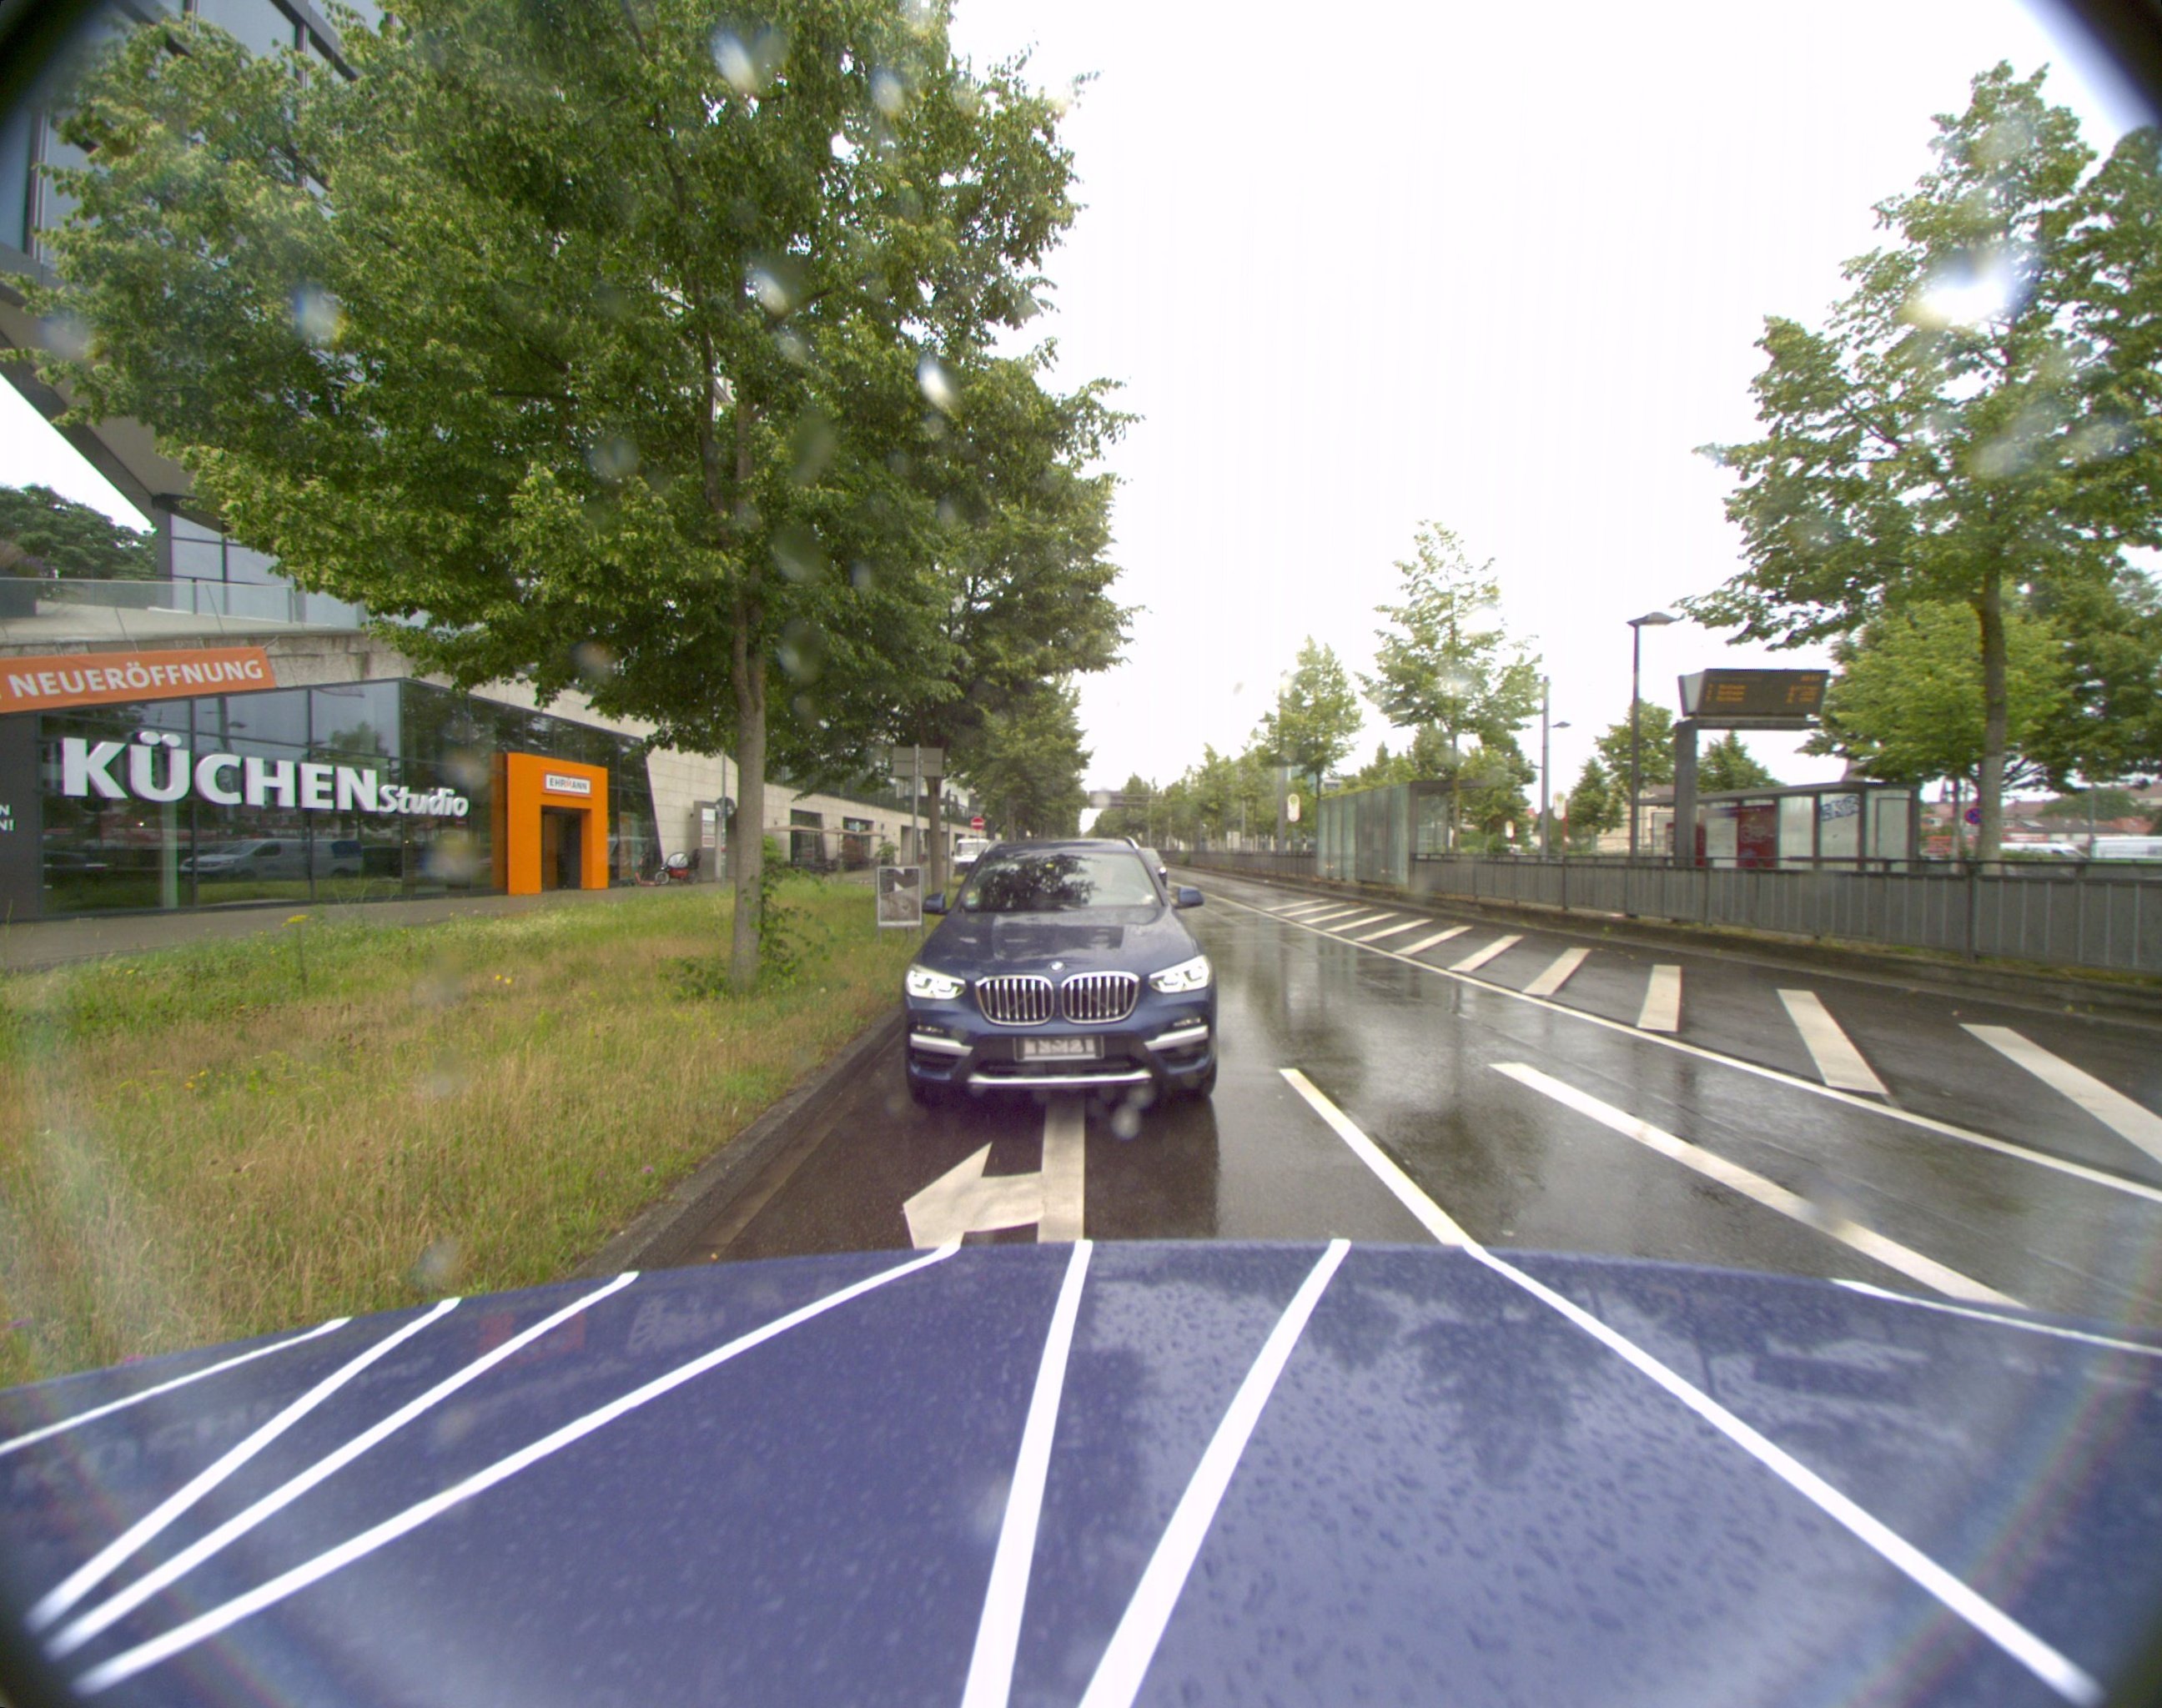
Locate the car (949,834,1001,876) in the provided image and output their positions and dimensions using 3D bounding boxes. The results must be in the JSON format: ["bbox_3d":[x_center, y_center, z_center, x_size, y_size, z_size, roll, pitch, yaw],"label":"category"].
[{"bbox_3d":[-5.983,0.048,43.411,2.084,2.189,5.097,-2,1,1],"label":"car"}]

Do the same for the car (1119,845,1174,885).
[{"bbox_3d":[2.730,0.422,32.683,1.788,1.509,4.331,-2,1,-2],"label":"car"}]

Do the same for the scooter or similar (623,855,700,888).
[{"bbox_3d":[-15.553,0.625,28.263,0.810,1.093,2.617,-2,1,18],"label":"scooter or similar"}]

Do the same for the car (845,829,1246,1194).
[{"bbox_3d":[-0.148,0.811,5.947,1.916,1.736,4.384,-2,-1,1],"label":"car"}]

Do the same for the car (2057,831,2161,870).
[{"bbox_3d":[70.138,-0.268,49.787,2.356,2.462,7.636,-2,1,-3],"label":"car"}]

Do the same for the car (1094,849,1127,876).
[{"bbox_3d":[1.722,0.477,45.164,1.788,1.450,4.315,-2,1,1],"label":"car"}]

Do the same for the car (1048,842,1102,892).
[{"bbox_3d":[-0.167,0.416,27.966,1.788,1.638,3.999,-2,1,1],"label":"car"}]

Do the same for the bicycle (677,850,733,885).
[{"bbox_3d":[-15.367,0.527,31.178,0.882,1.339,2.696,-2,1,1],"label":"bicycle"}]

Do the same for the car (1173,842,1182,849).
[{"bbox_3d":[28.137,-2.424,222.055,1.998,2.002,4.000,-2,1,2],"label":"car"}]
